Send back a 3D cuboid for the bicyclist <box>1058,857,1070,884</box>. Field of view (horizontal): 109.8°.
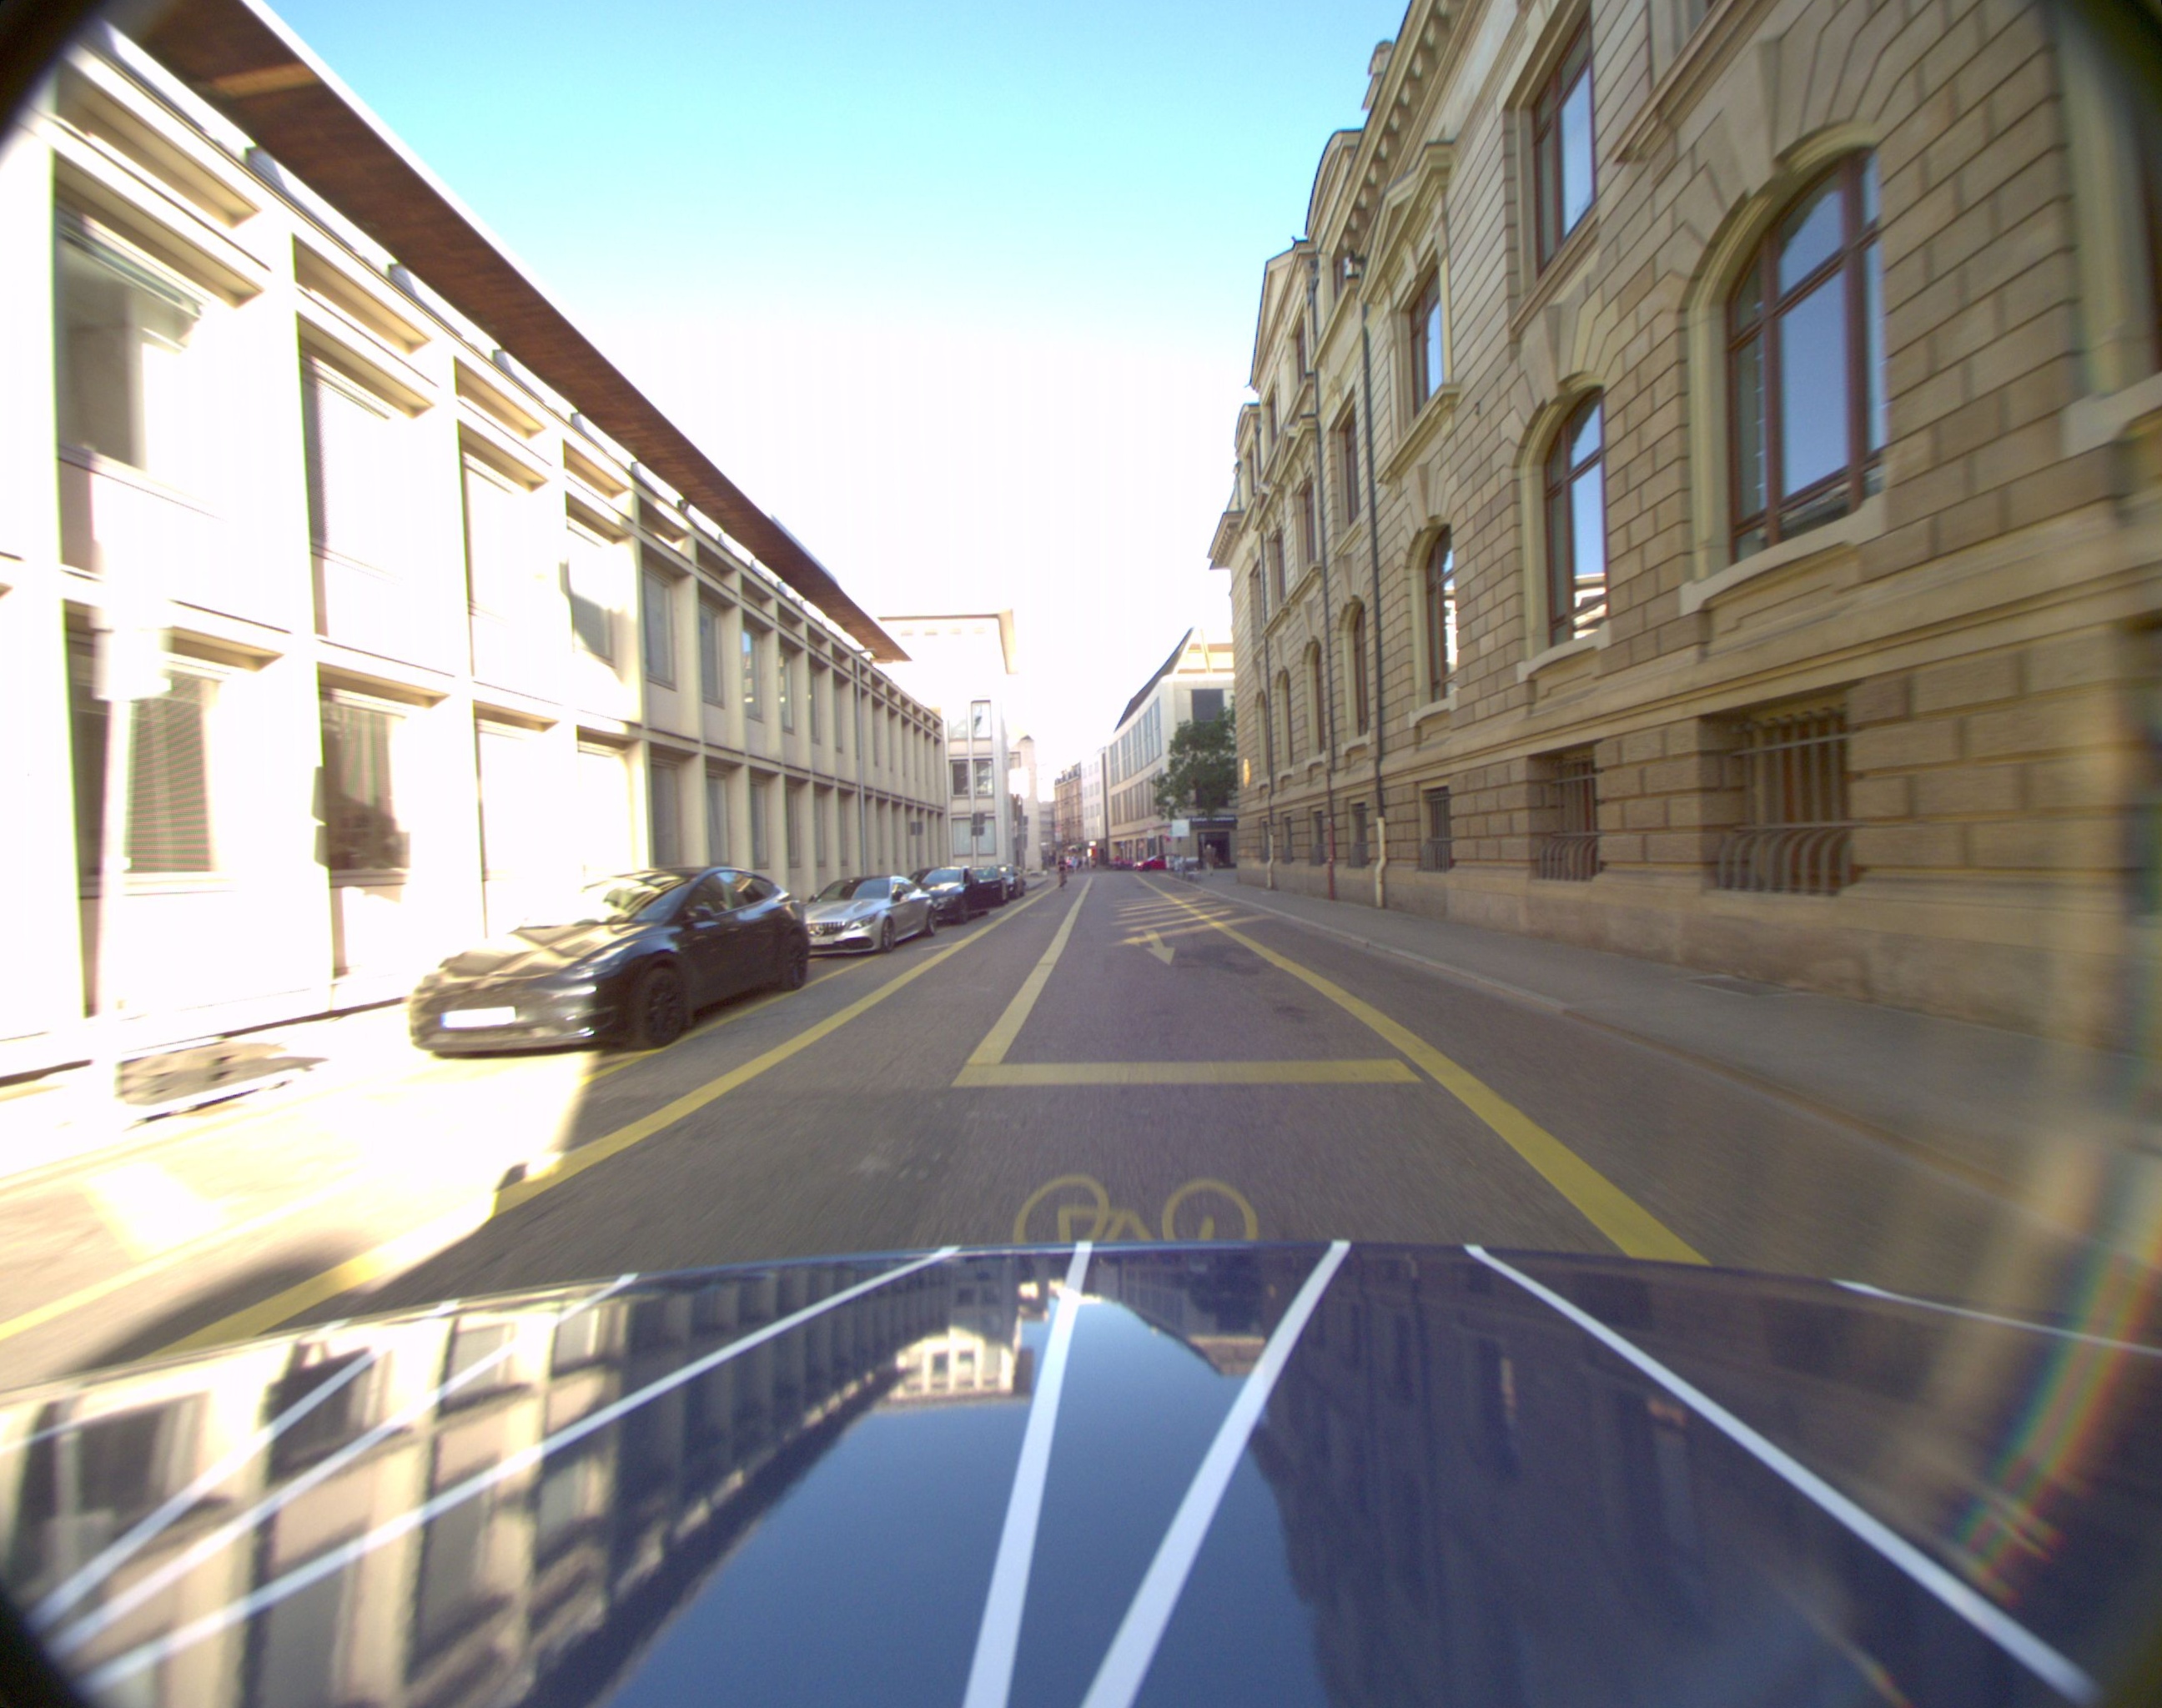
[{"bbox_3d":[-0.819,0.785,36.955,0.538,1.281,0.551,-3,1,0],"label":"bicyclist"}]

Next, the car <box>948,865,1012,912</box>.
[{"bbox_3d":[-3.453,1.139,26.595,1.631,1.391,3.886,-3,0,0],"label":"car"}]

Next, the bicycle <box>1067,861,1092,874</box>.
[{"bbox_3d":[-0.131,1.075,61.621,1.870,0.905,0.535,-3,2,9],"label":"bicycle"}]

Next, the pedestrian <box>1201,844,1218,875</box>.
[{"bbox_3d":[7.498,0.311,44.354,0.764,1.769,0.623,-3,1,19],"label":"pedestrian"}]

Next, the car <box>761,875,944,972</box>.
[{"bbox_3d":[-4.098,1.186,14.524,1.700,1.336,4.599,-3,0,5],"label":"car"}]

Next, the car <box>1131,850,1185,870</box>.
[{"bbox_3d":[6.636,0.522,65.466,4.272,1.462,1.631,-3,0,-11],"label":"car"}]

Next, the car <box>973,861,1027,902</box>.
[{"bbox_3d":[-3.363,1.114,32.175,1.697,1.483,4.254,-3,0,1],"label":"car"}]

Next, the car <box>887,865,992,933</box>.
[{"bbox_3d":[-3.660,1.108,20.568,1.701,1.462,4.792,-3,0,2],"label":"car"}]

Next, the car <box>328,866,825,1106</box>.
[{"bbox_3d":[-4.553,1.036,7.983,1.898,1.614,4.622,-3,0,3],"label":"car"}]

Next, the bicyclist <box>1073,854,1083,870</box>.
[{"bbox_3d":[-0.241,0.666,61.627,0.612,1.281,0.539,-3,1,9],"label":"bicyclist"}]

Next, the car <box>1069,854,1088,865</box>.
[{"bbox_3d":[-0.379,0.824,108.944,2.055,1.482,4.268,-3,0,-10],"label":"car"}]

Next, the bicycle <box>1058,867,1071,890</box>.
[{"bbox_3d":[-0.796,1.180,36.939,0.535,1.060,1.425,-3,0,0],"label":"bicycle"}]
